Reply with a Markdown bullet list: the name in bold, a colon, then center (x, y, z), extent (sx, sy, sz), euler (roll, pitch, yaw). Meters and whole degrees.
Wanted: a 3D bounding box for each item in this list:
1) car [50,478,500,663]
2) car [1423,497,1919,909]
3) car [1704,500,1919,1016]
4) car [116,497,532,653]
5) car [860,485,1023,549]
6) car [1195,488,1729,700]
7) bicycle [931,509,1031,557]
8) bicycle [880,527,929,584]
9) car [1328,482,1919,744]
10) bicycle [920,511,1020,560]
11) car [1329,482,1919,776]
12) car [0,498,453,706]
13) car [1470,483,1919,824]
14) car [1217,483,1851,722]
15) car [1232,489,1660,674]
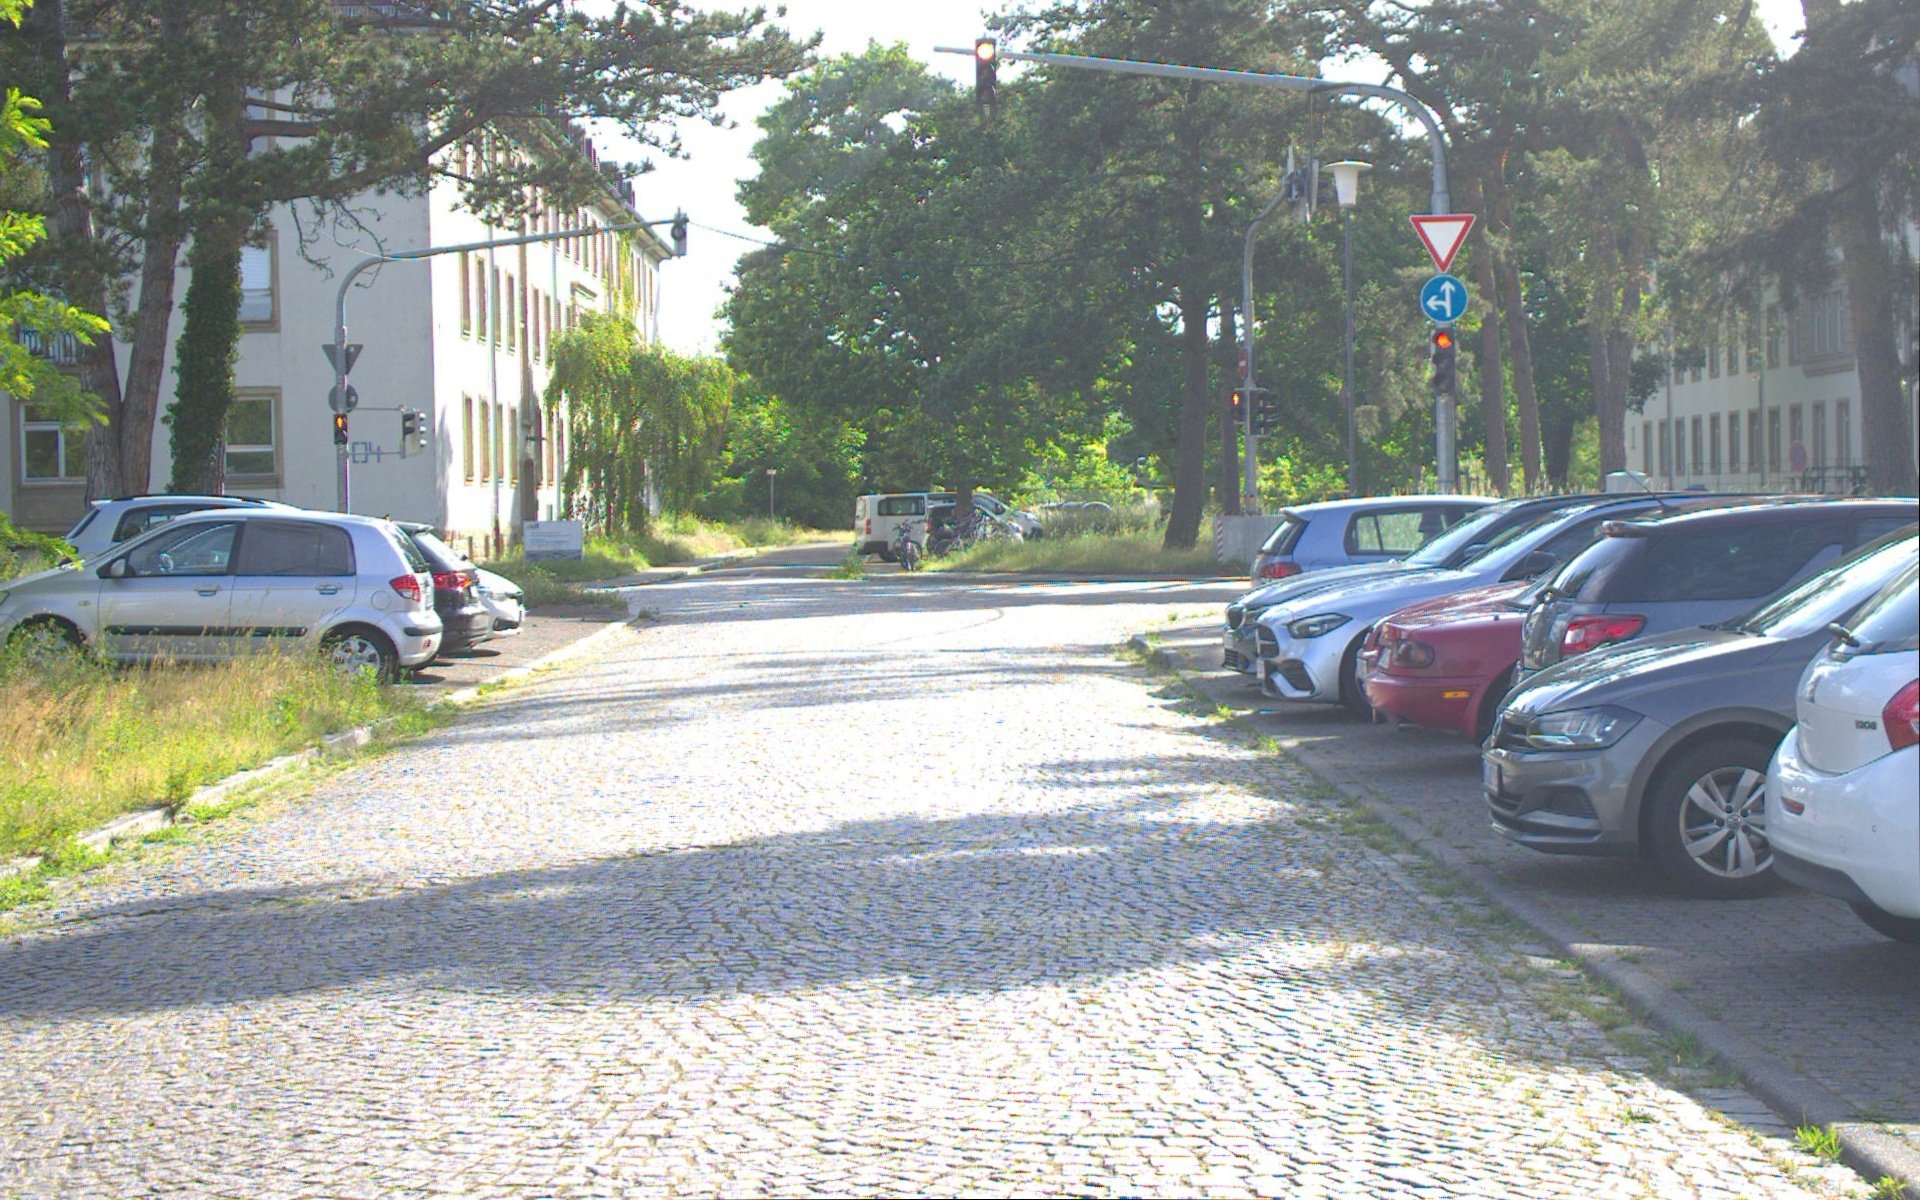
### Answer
- **car**: center (-6.664, -0.314, 33.762), extent (3.987, 1.596, 2.000), euler (2, 2, -1)
- **car**: center (3.822, 0.333, 13.649), extent (3.675, 1.462, 1.646), euler (-2, 2, -2)
- **car**: center (4.382, 0.365, 10.763), extent (3.694, 1.460, 1.645), euler (-3, 2, 0)
- **car**: center (-6.628, -0.287, 36.165), extent (3.987, 1.448, 2.000), euler (2, 2, -1)
- **car**: center (-0.540, -2.320, 95.624), extent (4.480, 1.722, 2.000), euler (0, 2, -1)
- **car**: center (3.818, -0.073, 26.566), extent (3.835, 1.524, 1.646), euler (-1, 2, -2)
- **bicycle**: center (0.483, -1.551, 79.307), extent (2.172, 1.096, 0.807), euler (-1, 2, -10)
- **bicycle**: center (-1.218, -0.982, 74.713), extent (0.804, 1.165, 2.181), euler (-3, 2, -7)
- **car**: center (4.233, 0.050, 21.615), extent (3.602, 1.524, 1.646), euler (-1, 2, -2)
- **bicycle**: center (0.228, -1.473, 78.170), extent (2.172, 1.096, 0.807), euler (-1, 2, -10)
- **car**: center (3.924, 0.127, 19.257), extent (3.478, 1.524, 1.646), euler (-1, 2, -2)
- **car**: center (-6.300, -0.012, 28.380), extent (3.986, 1.595, 2.000), euler (-1, 2, -3)
- **car**: center (4.346, 0.205, 16.568), extent (3.478, 1.524, 1.646), euler (-1, 2, -2)
- **car**: center (3.912, -0.012, 23.795), extent (4.033, 1.524, 1.646), euler (-1, 2, -4)
- **car**: center (4.082, -0.180, 29.206), extent (3.343, 1.477, 1.646), euler (-1, 2, -2)
